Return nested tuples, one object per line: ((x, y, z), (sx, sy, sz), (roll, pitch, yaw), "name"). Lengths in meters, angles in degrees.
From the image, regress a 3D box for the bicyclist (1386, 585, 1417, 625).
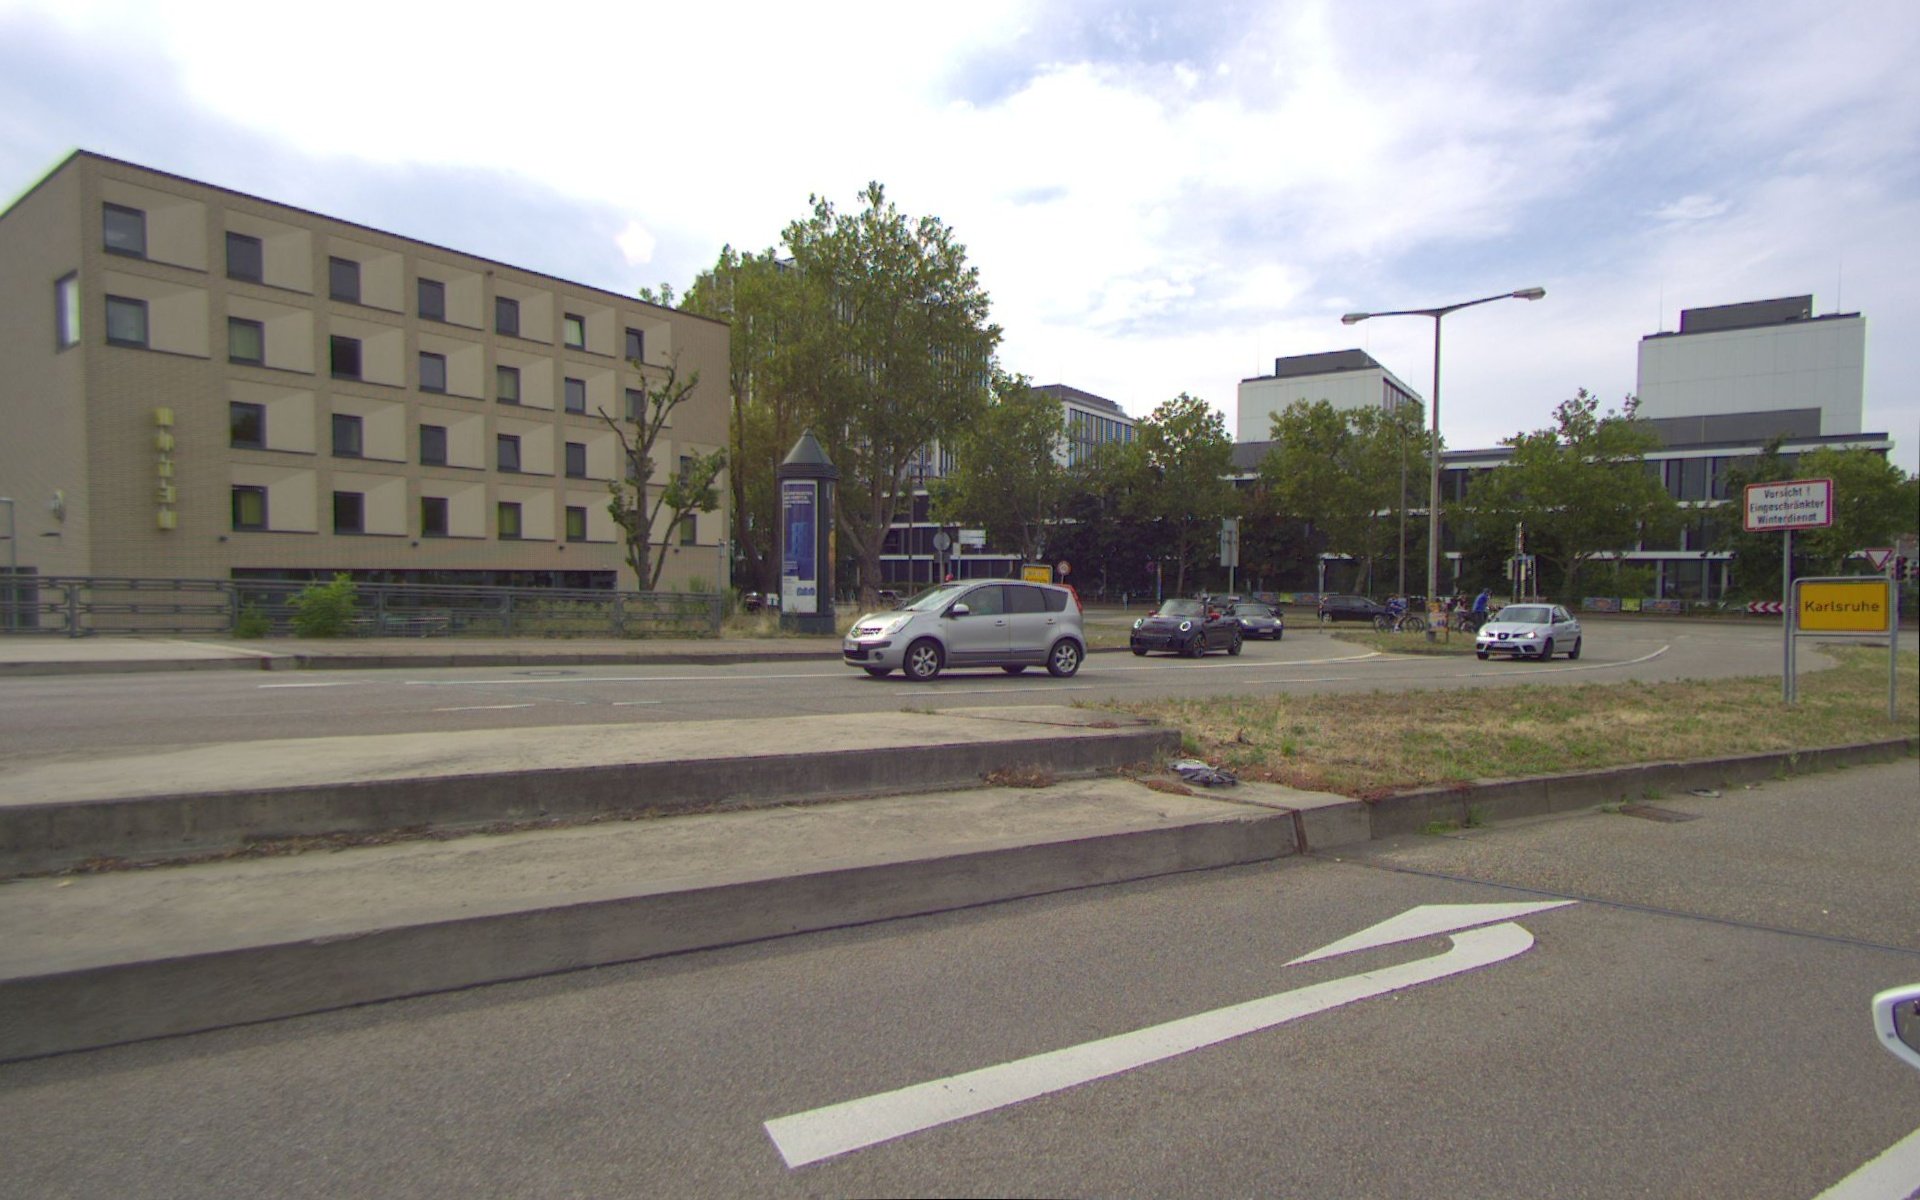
((17.516, 0.197, 39.866), (0.999, 1.560, 0.628), (1, 2, 18), "bicyclist")

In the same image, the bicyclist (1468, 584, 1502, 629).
((19.719, 0.243, 37.735), (0.866, 1.679, 0.812), (1, 1, 3), "bicyclist")

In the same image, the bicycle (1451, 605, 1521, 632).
((19.737, 0.699, 37.738), (2.190, 0.965, 0.812), (1, 1, 3), "bicycle")

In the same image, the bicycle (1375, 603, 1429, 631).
((17.536, 0.663, 39.878), (1.869, 1.027, 0.628), (1, 2, 18), "bicycle")

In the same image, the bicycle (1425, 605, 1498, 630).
((19.932, 0.695, 39.942), (2.546, 0.902, 0.703), (1, 2, 30), "bicycle")

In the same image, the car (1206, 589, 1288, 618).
((15.752, 0.173, 55.257), (4.003, 1.470, 1.697), (2, 1, 36), "car")

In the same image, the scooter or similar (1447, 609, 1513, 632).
((21.857, 0.849, 42.300), (2.338, 0.861, 0.809), (1, 2, 17), "scooter or similar")

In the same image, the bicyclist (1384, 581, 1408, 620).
((17.665, 0.001, 40.728), (0.824, 1.550, 0.628), (1, 2, 20), "bicyclist")

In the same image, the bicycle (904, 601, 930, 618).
((-2.464, 0.517, 56.991), (0.731, 0.921, 2.106), (0, 1, -25), "bicycle")

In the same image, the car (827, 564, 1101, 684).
((0.096, 0.377, 15.899), (4.032, 1.681, 1.733), (1, 0, -31), "car")

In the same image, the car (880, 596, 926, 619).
((-3.834, 0.480, 67.345), (2.673, 1.441, 1.495), (2, 1, 34), "car")

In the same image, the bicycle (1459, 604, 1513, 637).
((21.299, 0.818, 40.672), (1.873, 1.226, 0.641), (1, 2, 31), "bicycle")

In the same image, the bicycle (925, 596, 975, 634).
((-0.294, 0.417, 30.068), (0.673, 1.068, 1.992), (2, 1, 26), "bicycle")

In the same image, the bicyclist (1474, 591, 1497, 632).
((21.287, 0.462, 40.658), (0.768, 1.602, 0.653), (2, 2, 30), "bicyclist")

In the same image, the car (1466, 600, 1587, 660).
((14.553, 0.750, 25.712), (3.832, 1.429, 1.601), (1, -1, -43), "car")

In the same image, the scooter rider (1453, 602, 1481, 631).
((21.394, 0.686, 42.431), (0.898, 1.152, 0.809), (1, 2, 16), "scooter rider")

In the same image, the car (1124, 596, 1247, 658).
((5.711, 0.647, 25.149), (1.718, 1.429, 3.865), (1, 0, 34), "car")

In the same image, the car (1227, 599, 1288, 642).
((11.140, 0.719, 37.801), (1.790, 1.465, 4.355), (2, 1, 12), "car")

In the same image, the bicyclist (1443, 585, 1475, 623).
((19.868, 0.153, 39.982), (1.097, 1.456, 0.646), (1, 2, 29), "bicyclist")

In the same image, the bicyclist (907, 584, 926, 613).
((-2.475, -0.082, 57.029), (0.732, 1.637, 0.915), (0, 1, -25), "bicyclist")

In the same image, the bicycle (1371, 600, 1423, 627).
((17.702, 0.553, 40.733), (1.869, 1.027, 0.628), (1, 2, 20), "bicycle")

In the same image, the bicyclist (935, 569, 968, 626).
((-0.253, -0.081, 30.093), (0.673, 1.694, 0.846), (2, 2, 26), "bicyclist")
